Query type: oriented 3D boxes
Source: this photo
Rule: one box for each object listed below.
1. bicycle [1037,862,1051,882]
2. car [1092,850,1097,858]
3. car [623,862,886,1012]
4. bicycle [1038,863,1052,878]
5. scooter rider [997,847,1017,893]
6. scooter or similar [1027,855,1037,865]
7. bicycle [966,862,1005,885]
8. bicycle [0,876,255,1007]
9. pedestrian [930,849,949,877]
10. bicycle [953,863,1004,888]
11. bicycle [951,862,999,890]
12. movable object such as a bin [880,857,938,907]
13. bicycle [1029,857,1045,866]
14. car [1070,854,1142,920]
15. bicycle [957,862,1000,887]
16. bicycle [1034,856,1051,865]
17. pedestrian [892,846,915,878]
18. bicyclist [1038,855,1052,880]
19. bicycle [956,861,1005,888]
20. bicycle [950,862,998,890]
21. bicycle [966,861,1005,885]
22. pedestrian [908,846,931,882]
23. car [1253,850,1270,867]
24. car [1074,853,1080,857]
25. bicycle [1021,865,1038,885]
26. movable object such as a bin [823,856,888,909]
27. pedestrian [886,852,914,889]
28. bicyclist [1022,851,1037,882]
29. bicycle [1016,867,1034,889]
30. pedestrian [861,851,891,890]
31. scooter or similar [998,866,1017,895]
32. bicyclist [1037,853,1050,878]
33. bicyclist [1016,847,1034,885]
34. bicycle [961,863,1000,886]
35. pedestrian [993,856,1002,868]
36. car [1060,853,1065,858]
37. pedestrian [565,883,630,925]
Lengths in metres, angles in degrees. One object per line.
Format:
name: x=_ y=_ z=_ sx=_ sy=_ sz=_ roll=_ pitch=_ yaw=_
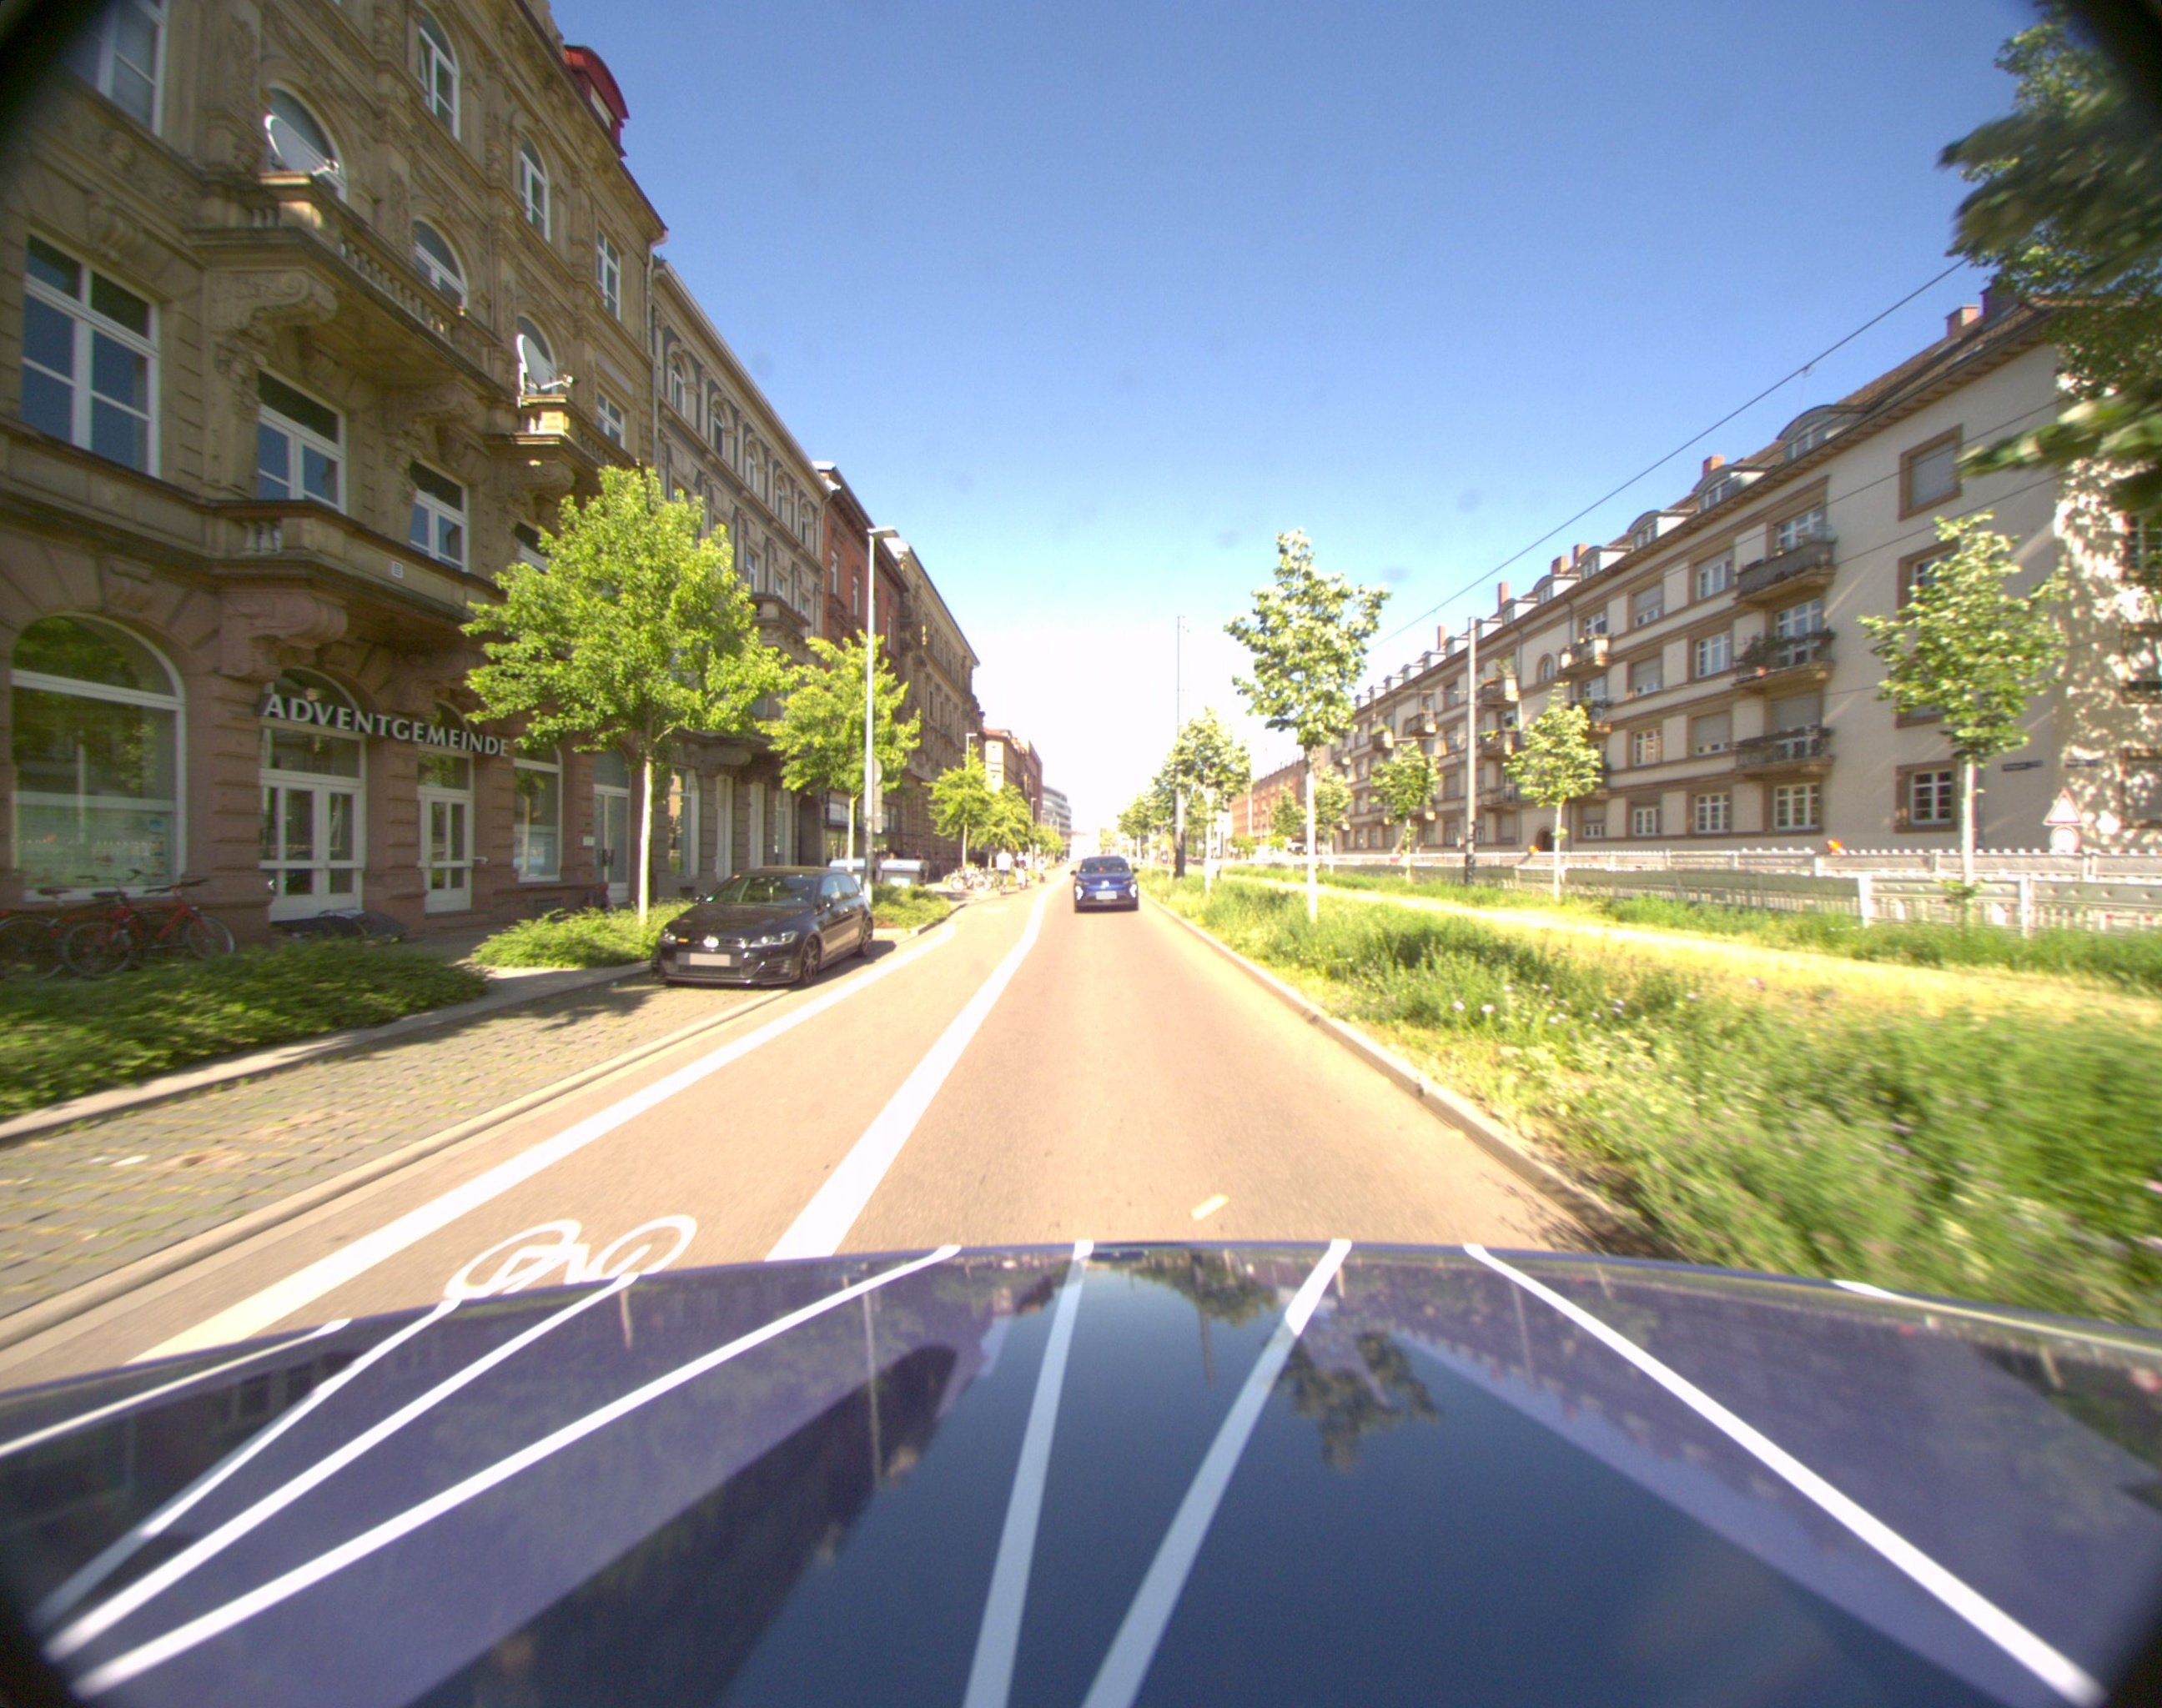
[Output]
bicycle: x=-2.343 y=1.115 z=47.993 sx=0.725 sy=1.187 sz=1.952 roll=-1 pitch=0 yaw=1
car: x=4.258 y=0.083 z=238.359 sx=1.758 sy=2.472 sz=4.610 roll=-1 pitch=0 yaw=1
car: x=-4.129 y=0.932 z=10.499 sx=1.770 sy=1.468 sz=4.447 roll=2 pitch=1 yaw=-2
bicycle: x=-2.536 y=1.178 z=53.644 sx=0.830 sy=1.000 sz=1.952 roll=-1 pitch=0 yaw=1
scooter rider: x=-3.086 y=0.662 z=31.754 sx=0.662 sy=1.855 sz=0.898 roll=-1 pitch=1 yaw=0
scooter or similar: x=-5.842 y=0.744 z=90.902 sx=1.199 sy=1.191 sz=0.487 roll=0 pitch=1 yaw=-4
bicycle: x=-4.806 y=1.005 z=38.463 sx=1.897 sy=1.102 sz=0.517 roll=2 pitch=1 yaw=-4
bicycle: x=-10.442 y=0.886 z=8.341 sx=0.750 sy=1.194 sz=1.801 roll=1 pitch=1 yaw=1
pedestrian: x=-8.968 y=0.561 z=48.183 sx=0.972 sy=1.682 sz=1.113 roll=2 pitch=1 yaw=0
bicycle: x=-4.790 y=1.025 z=35.480 sx=2.293 sy=1.096 sz=0.485 roll=2 pitch=1 yaw=-13
bicycle: x=-4.723 y=0.982 z=34.050 sx=2.049 sy=1.100 sz=0.610 roll=3 pitch=1 yaw=-5
movable object such as a bin: x=-5.266 y=0.865 z=23.400 sx=1.274 sy=1.454 sz=1.645 roll=-1 pitch=-2 yaw=6
bicycle: x=-5.328 y=0.910 z=92.418 sx=1.905 sy=0.906 sz=0.592 roll=2 pitch=2 yaw=9
car: x=0.662 y=0.821 z=21.329 sx=1.758 sy=1.576 sz=4.420 roll=-3 pitch=0 yaw=1
bicycle: x=-4.921 y=0.984 z=36.648 sx=1.982 sy=1.102 sz=0.435 roll=2 pitch=1 yaw=-2
bicycle: x=-4.985 y=0.895 z=98.692 sx=2.062 sy=1.036 sz=0.847 roll=3 pitch=1 yaw=0
pedestrian: x=-9.742 y=0.440 z=41.628 sx=0.848 sy=1.726 sz=0.903 roll=4 pitch=1 yaw=9
bicyclist: x=-2.539 y=0.974 z=53.649 sx=0.854 sy=1.717 sz=0.989 roll=-1 pitch=1 yaw=1
bicycle: x=-4.655 y=0.950 z=35.133 sx=2.154 sy=1.148 sz=0.429 roll=3 pitch=0 yaw=-13
bicycle: x=-4.723 y=0.990 z=33.642 sx=1.980 sy=1.117 sz=0.481 roll=3 pitch=0 yaw=-4
bicycle: x=-4.791 y=0.951 z=38.107 sx=1.871 sy=1.172 sz=0.373 roll=0 pitch=1 yaw=-2
pedestrian: x=-8.832 y=0.536 z=41.564 sx=0.891 sy=1.909 sz=1.098 roll=2 pitch=1 yaw=6
car: x=26.331 y=0.595 z=111.060 sx=1.997 sy=2.283 sz=5.192 roll=-1 pitch=1 yaw=9
car: x=-1.370 y=0.334 z=253.617 sx=1.745 sy=1.543 sz=4.000 roll=0 pitch=0 yaw=1
bicycle: x=-2.781 y=1.143 z=41.336 sx=0.725 sy=1.000 sz=1.952 roll=-1 pitch=0 yaw=1
movable object such as a bin: x=-6.870 y=0.842 z=23.253 sx=1.376 sy=1.487 sz=1.749 roll=2 pitch=1 yaw=2
pedestrian: x=-7.980 y=0.726 z=33.486 sx=0.952 sy=1.557 sz=1.080 roll=1 pitch=0 yaw=1
bicyclist: x=-2.812 y=0.677 z=41.206 sx=0.700 sy=1.647 sz=0.977 roll=-1 pitch=1 yaw=0
bicycle: x=-2.699 y=1.132 z=36.728 sx=0.725 sy=1.000 sz=1.952 roll=-1 pitch=0 yaw=0
pedestrian: x=-8.755 y=0.701 z=32.529 sx=0.973 sy=1.629 sz=0.992 roll=1 pitch=0 yaw=1
scooter or similar: x=-3.079 y=1.112 z=31.827 sx=0.647 sy=1.151 sz=1.150 roll=-1 pitch=1 yaw=0
bicyclist: x=-2.353 y=0.727 z=47.988 sx=0.725 sy=1.595 sz=0.895 roll=-1 pitch=1 yaw=1
bicyclist: x=-2.713 y=0.575 z=36.733 sx=0.725 sy=1.807 sz=1.091 roll=-1 pitch=1 yaw=1
bicycle: x=-4.872 y=1.011 z=36.991 sx=1.820 sy=1.050 sz=0.571 roll=1 pitch=1 yaw=-5
pedestrian: x=-7.815 y=0.745 z=71.090 sx=0.719 sy=1.176 sz=0.881 roll=0 pitch=1 yaw=0
car: x=-6.194 y=0.387 z=254.370 sx=1.745 sy=1.543 sz=4.000 roll=0 pitch=0 yaw=0
pedestrian: x=-10.368 y=1.064 z=16.343 sx=0.873 sy=0.814 sz=0.979 roll=-1 pitch=1 yaw=-12
